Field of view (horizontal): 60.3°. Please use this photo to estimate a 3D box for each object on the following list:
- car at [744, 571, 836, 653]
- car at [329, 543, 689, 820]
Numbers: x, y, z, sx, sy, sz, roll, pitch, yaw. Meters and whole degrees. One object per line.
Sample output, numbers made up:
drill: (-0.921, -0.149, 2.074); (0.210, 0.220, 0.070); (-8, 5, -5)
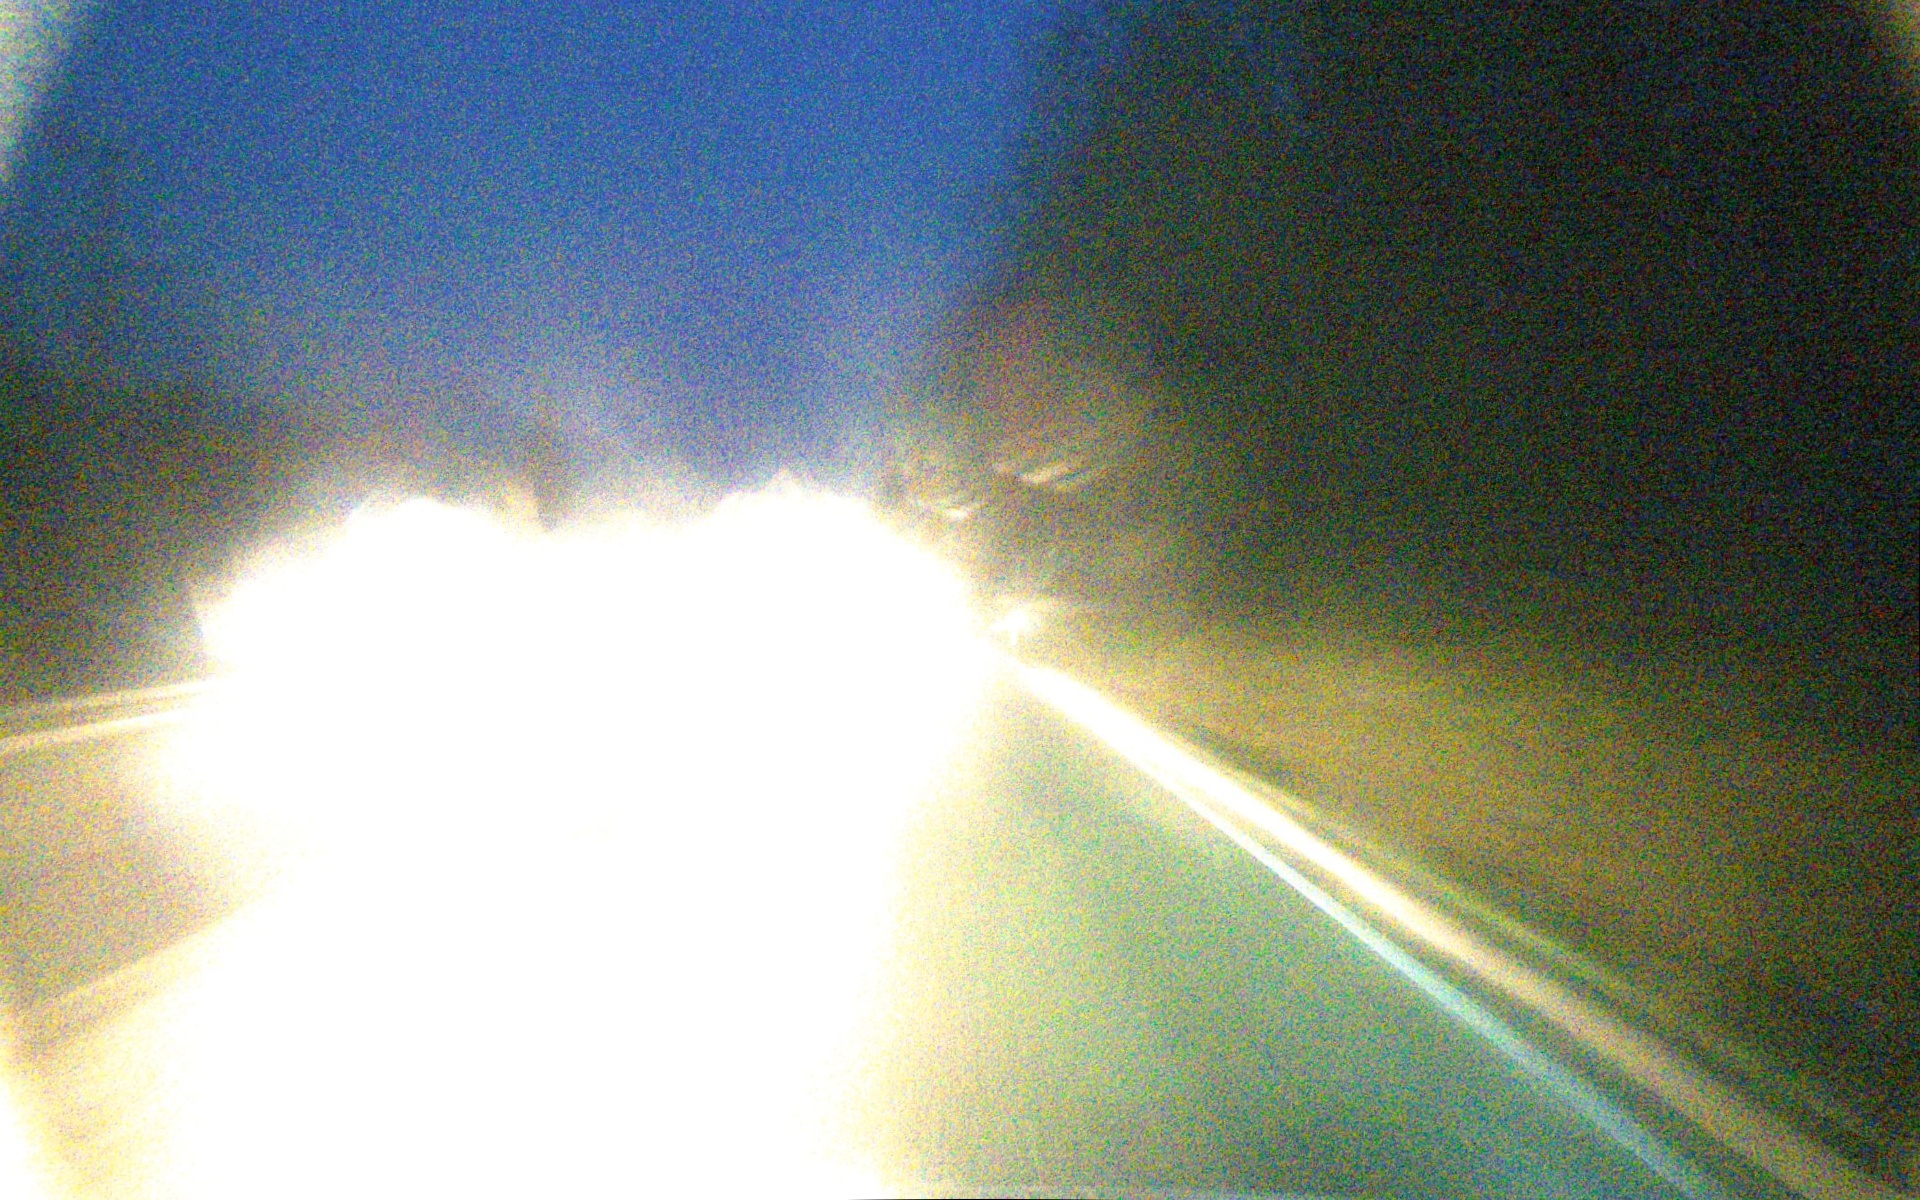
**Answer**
car: (-4.167, 0.292, 41.105); (1.953, 1.854, 3.998); (2, 0, -2)
car: (-3.209, 0.525, 12.599); (1.736, 1.704, 4.052); (2, 0, -3)
